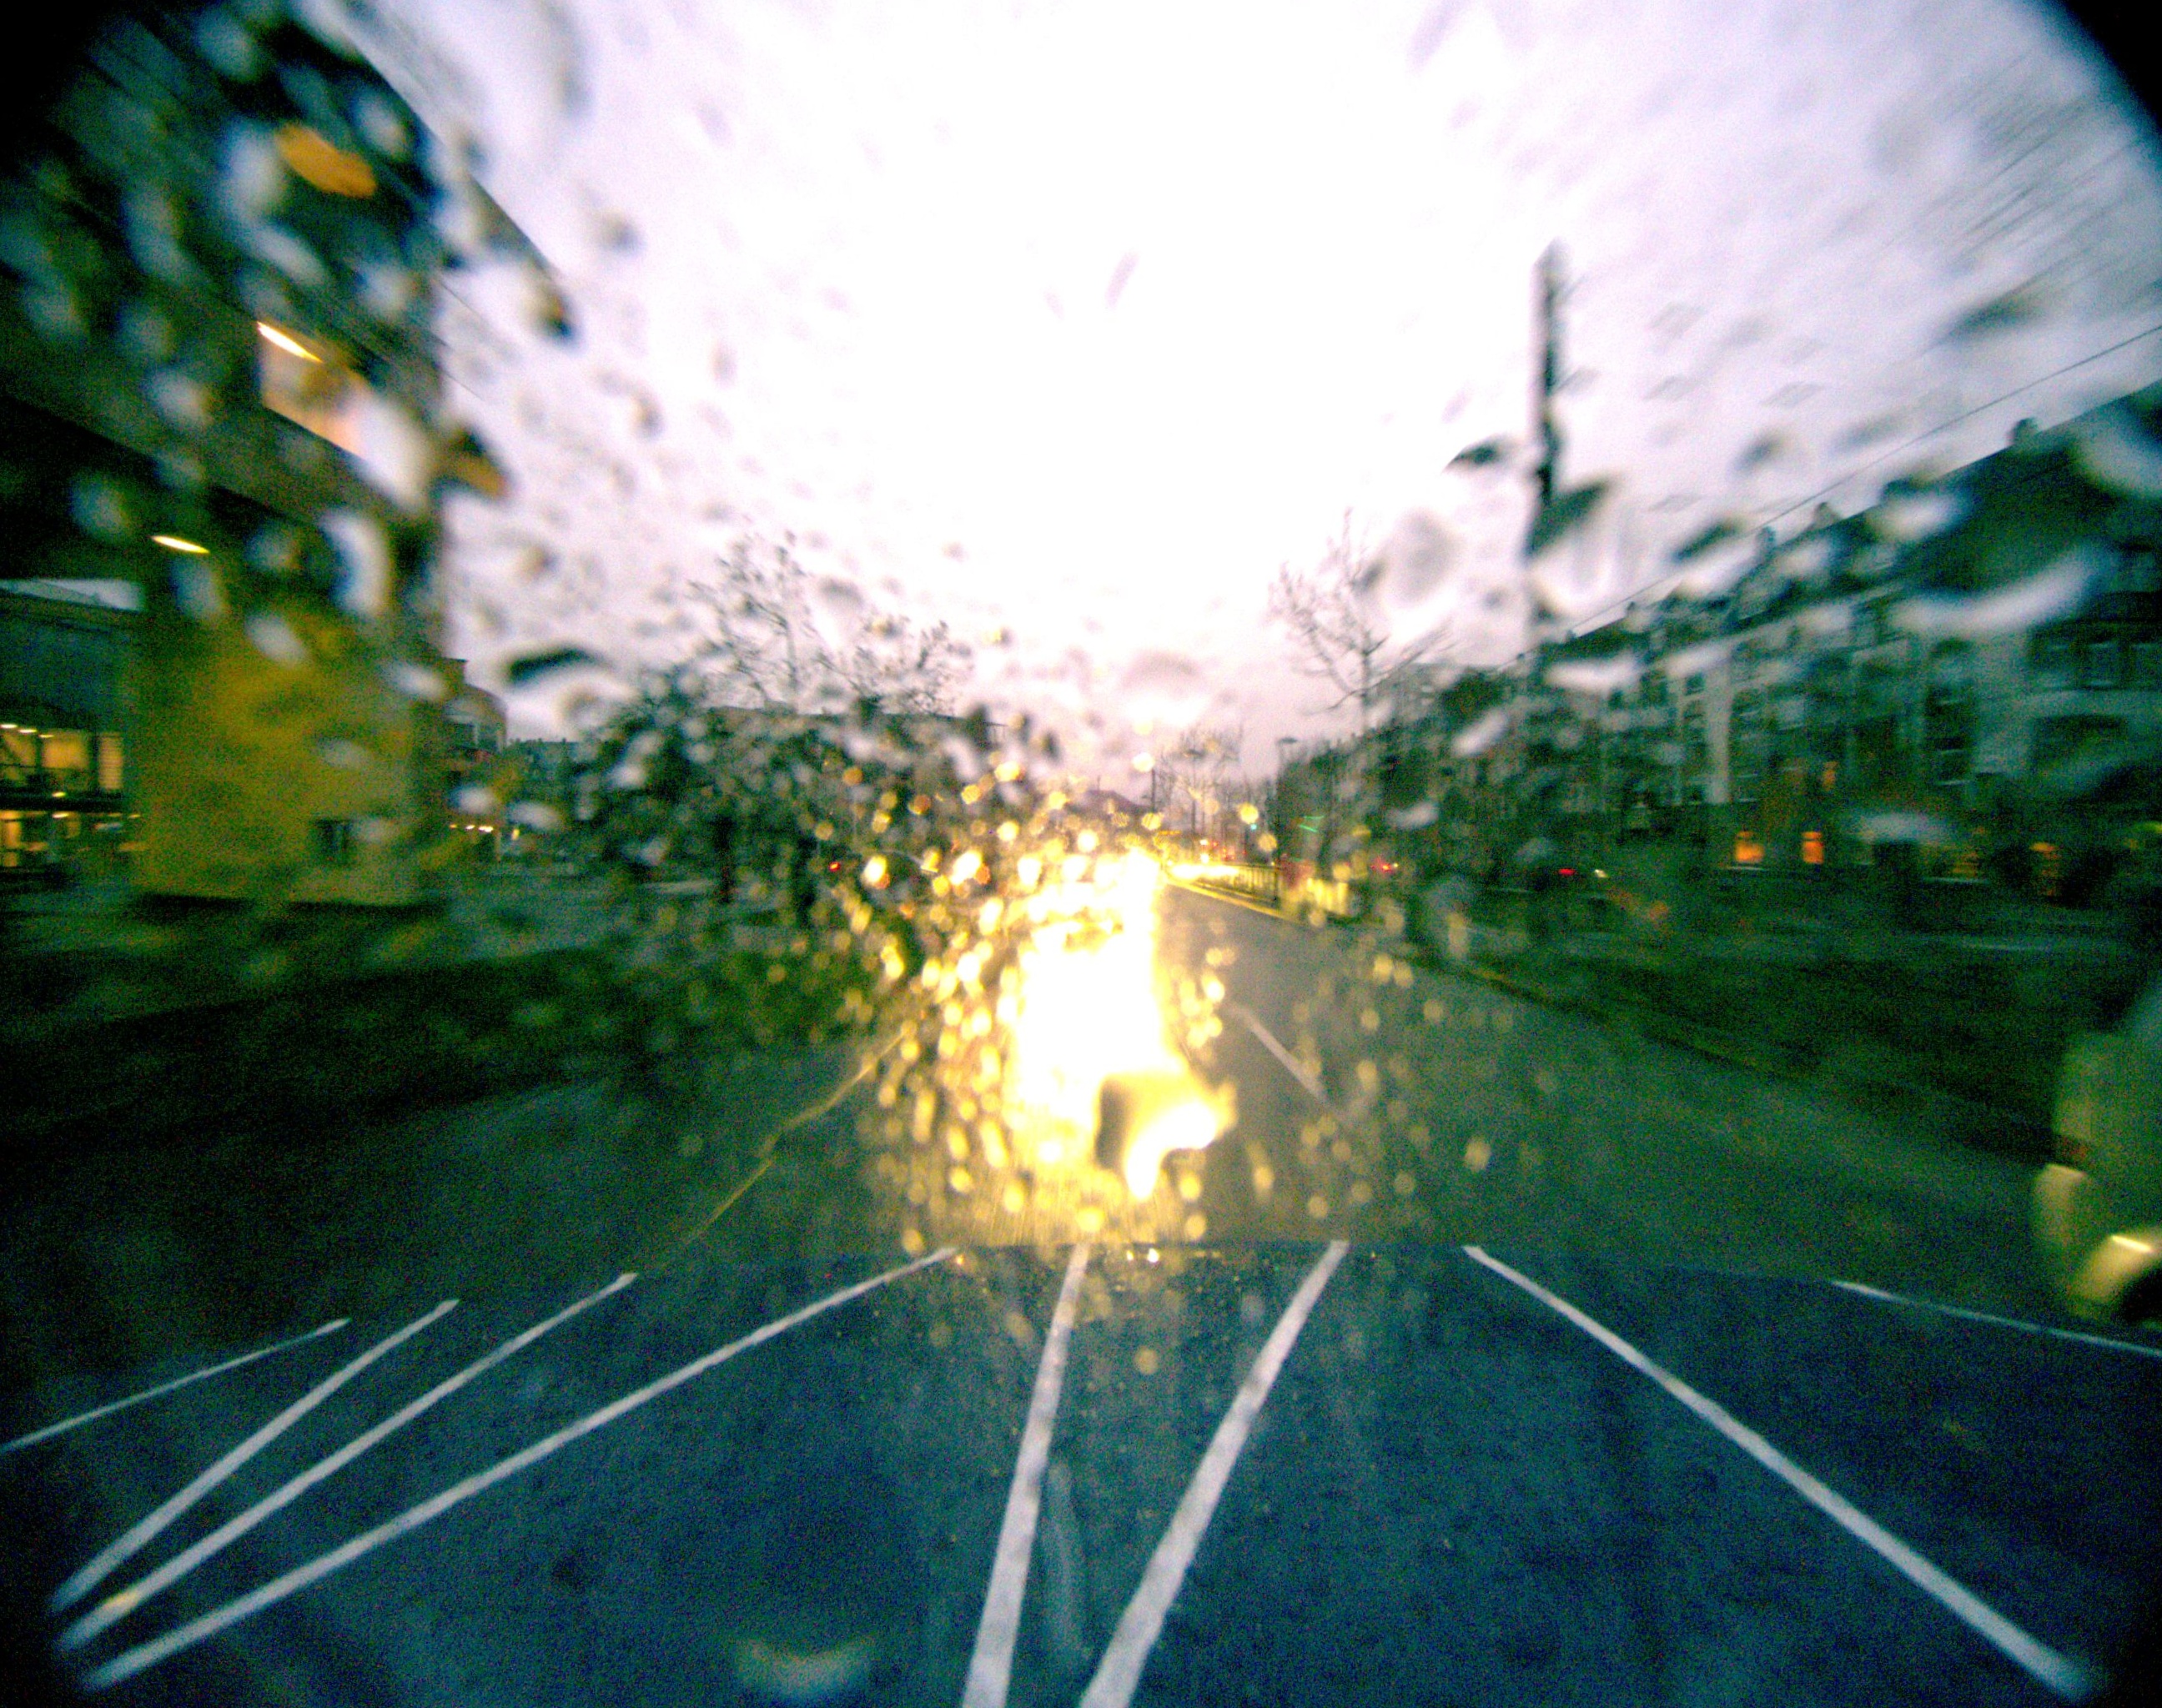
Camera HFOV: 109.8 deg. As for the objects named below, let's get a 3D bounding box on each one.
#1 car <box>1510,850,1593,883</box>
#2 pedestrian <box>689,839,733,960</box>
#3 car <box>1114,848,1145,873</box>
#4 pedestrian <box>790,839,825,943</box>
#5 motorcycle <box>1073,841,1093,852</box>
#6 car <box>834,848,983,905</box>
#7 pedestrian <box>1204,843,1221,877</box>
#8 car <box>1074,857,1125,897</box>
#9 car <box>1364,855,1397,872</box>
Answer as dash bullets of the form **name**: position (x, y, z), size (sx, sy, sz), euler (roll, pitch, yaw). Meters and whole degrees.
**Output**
- **car**: position (24.375, 0.609, 39.505), size (1.869, 1.628, 4.000), euler (-1, 0, 1)
- **pedestrian**: position (-5.513, 0.653, 11.317), size (0.506, 1.732, 0.656), euler (1, 1, -32)
- **car**: position (3.105, 0.401, 49.202), size (1.813, 1.487, 4.053), euler (-1, 0, 1)
- **pedestrian**: position (-4.897, 0.639, 13.594), size (0.506, 1.814, 0.656), euler (1, 1, -25)
- **motorcycle**: position (0.365, -1.493, 154.343), size (3.997, 2.002, 0.926), euler (-2, 1, 1)
- **car**: position (-5.076, 0.641, 22.753), size (3.996, 1.546, 1.742), euler (2, 1, 2)
- **pedestrian**: position (7.830, 0.366, 45.256), size (0.876, 2.002, 0.931), euler (2, 1, 12)
- **car**: position (0.706, 0.845, 29.662), size (1.813, 1.384, 4.053), euler (-1, 0, 1)
- **car**: position (26.323, 0.846, 66.873), size (1.682, 1.399, 3.259), euler (1, 0, 1)
